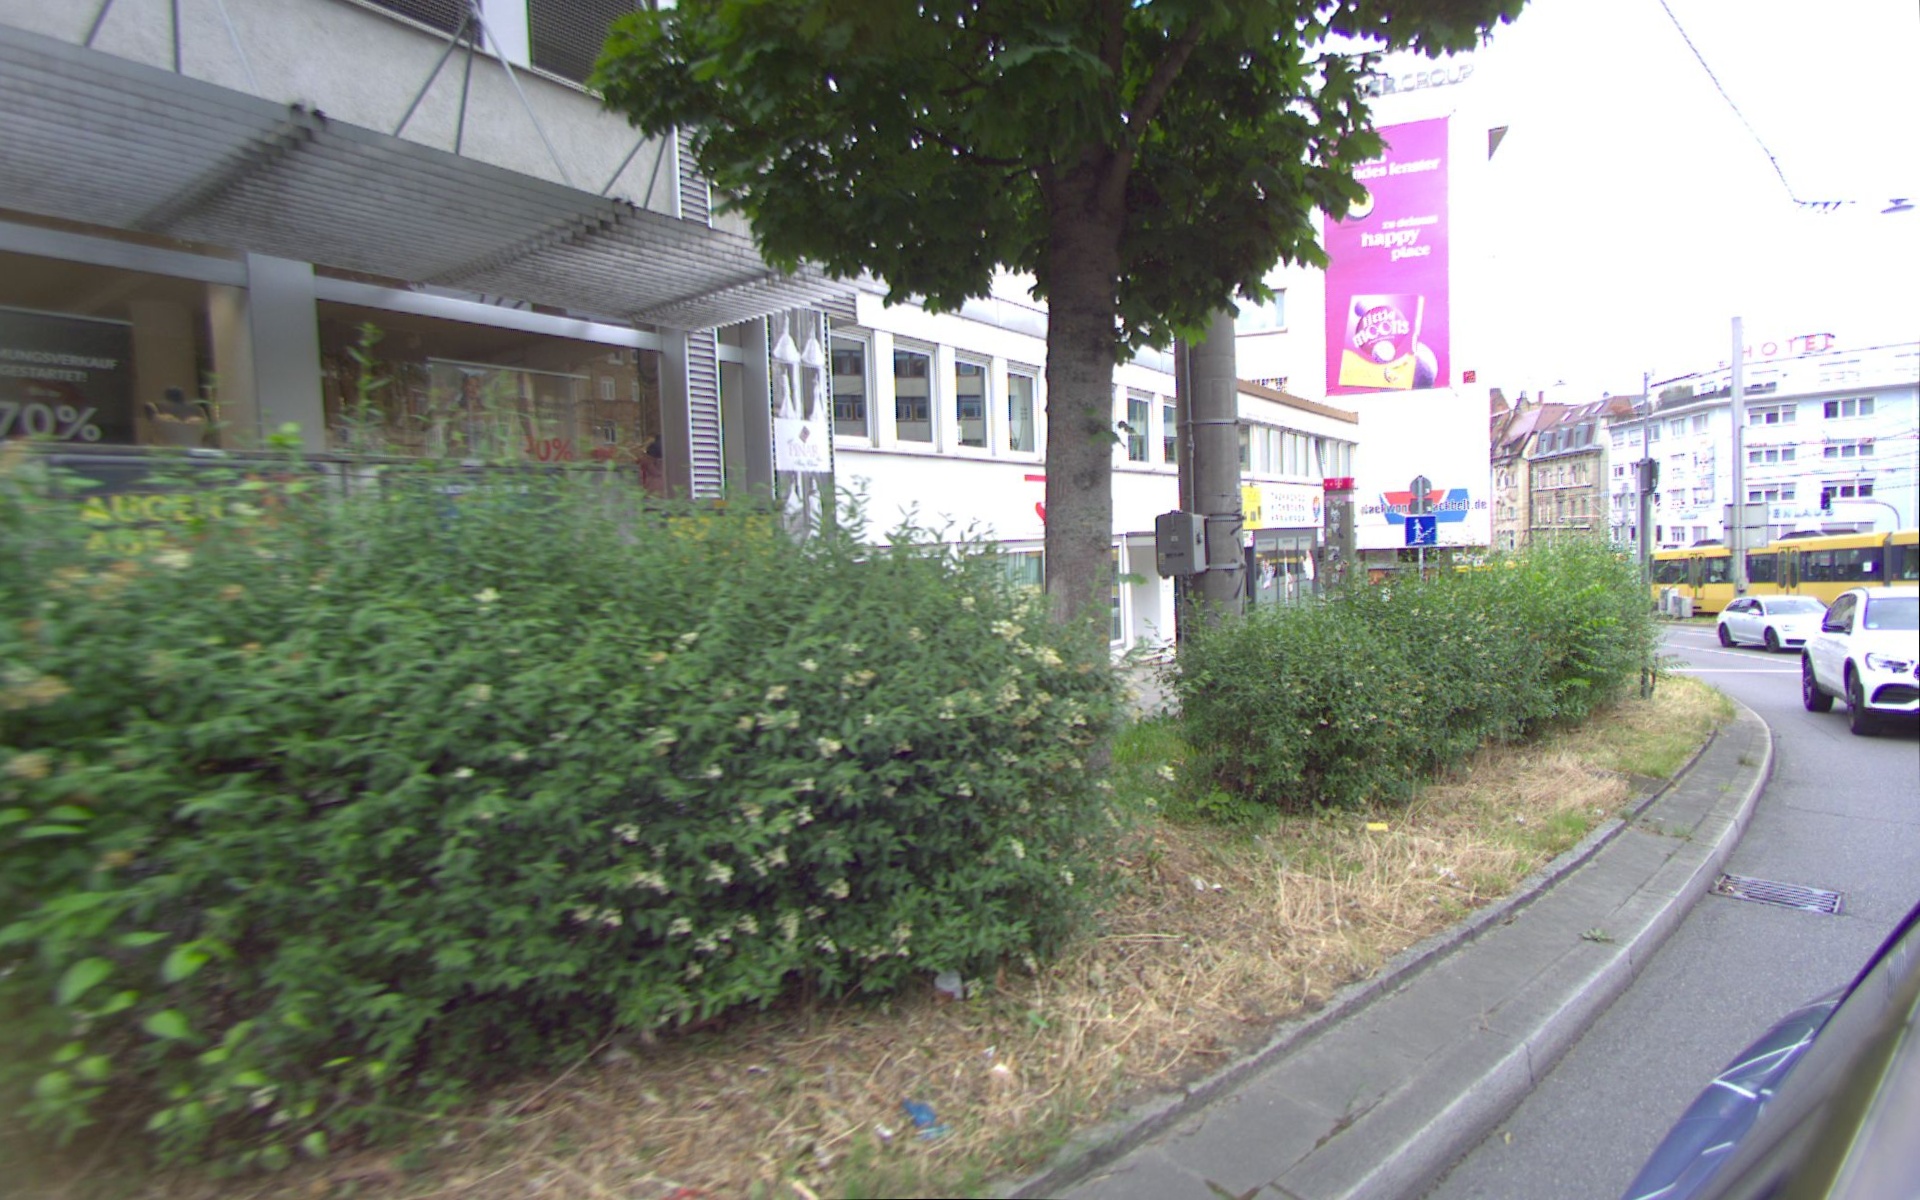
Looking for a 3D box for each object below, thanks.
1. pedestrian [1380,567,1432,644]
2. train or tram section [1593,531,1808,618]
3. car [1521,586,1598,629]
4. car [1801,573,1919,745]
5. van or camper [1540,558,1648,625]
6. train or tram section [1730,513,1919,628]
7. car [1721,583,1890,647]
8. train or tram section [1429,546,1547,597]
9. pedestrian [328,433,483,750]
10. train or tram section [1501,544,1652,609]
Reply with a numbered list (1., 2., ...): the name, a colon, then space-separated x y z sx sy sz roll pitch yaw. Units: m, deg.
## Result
1. pedestrian: 10.911 0.113 24.752 0.833 1.833 1.134 2 2 40
2. train or tram section: 36.695 -1.232 51.202 2.845 3.709 14.185 -2 1 11
3. car: 23.300 0.264 39.491 1.648 1.549 3.978 -2 0 17
4. car: 11.466 0.541 11.768 1.921 1.652 4.719 -2 0 32
5. van or camper: 27.351 -0.412 43.933 2.179 2.590 6.342 -3 0 16
6. train or tram section: 33.664 -1.079 37.354 2.848 3.709 14.171 -2 1 14
7. car: 22.354 0.349 27.005 1.873 1.494 4.504 -2 0 19
8. train or tram section: 40.873 -2.079 79.168 2.841 3.484 14.208 -4 0 6
9. pedestrian: -3.413 -0.049 6.233 0.671 1.817 0.601 -1 -1 35
10. train or tram section: 39.099 -1.534 65.102 2.884 3.602 14.198 -3 1 9
